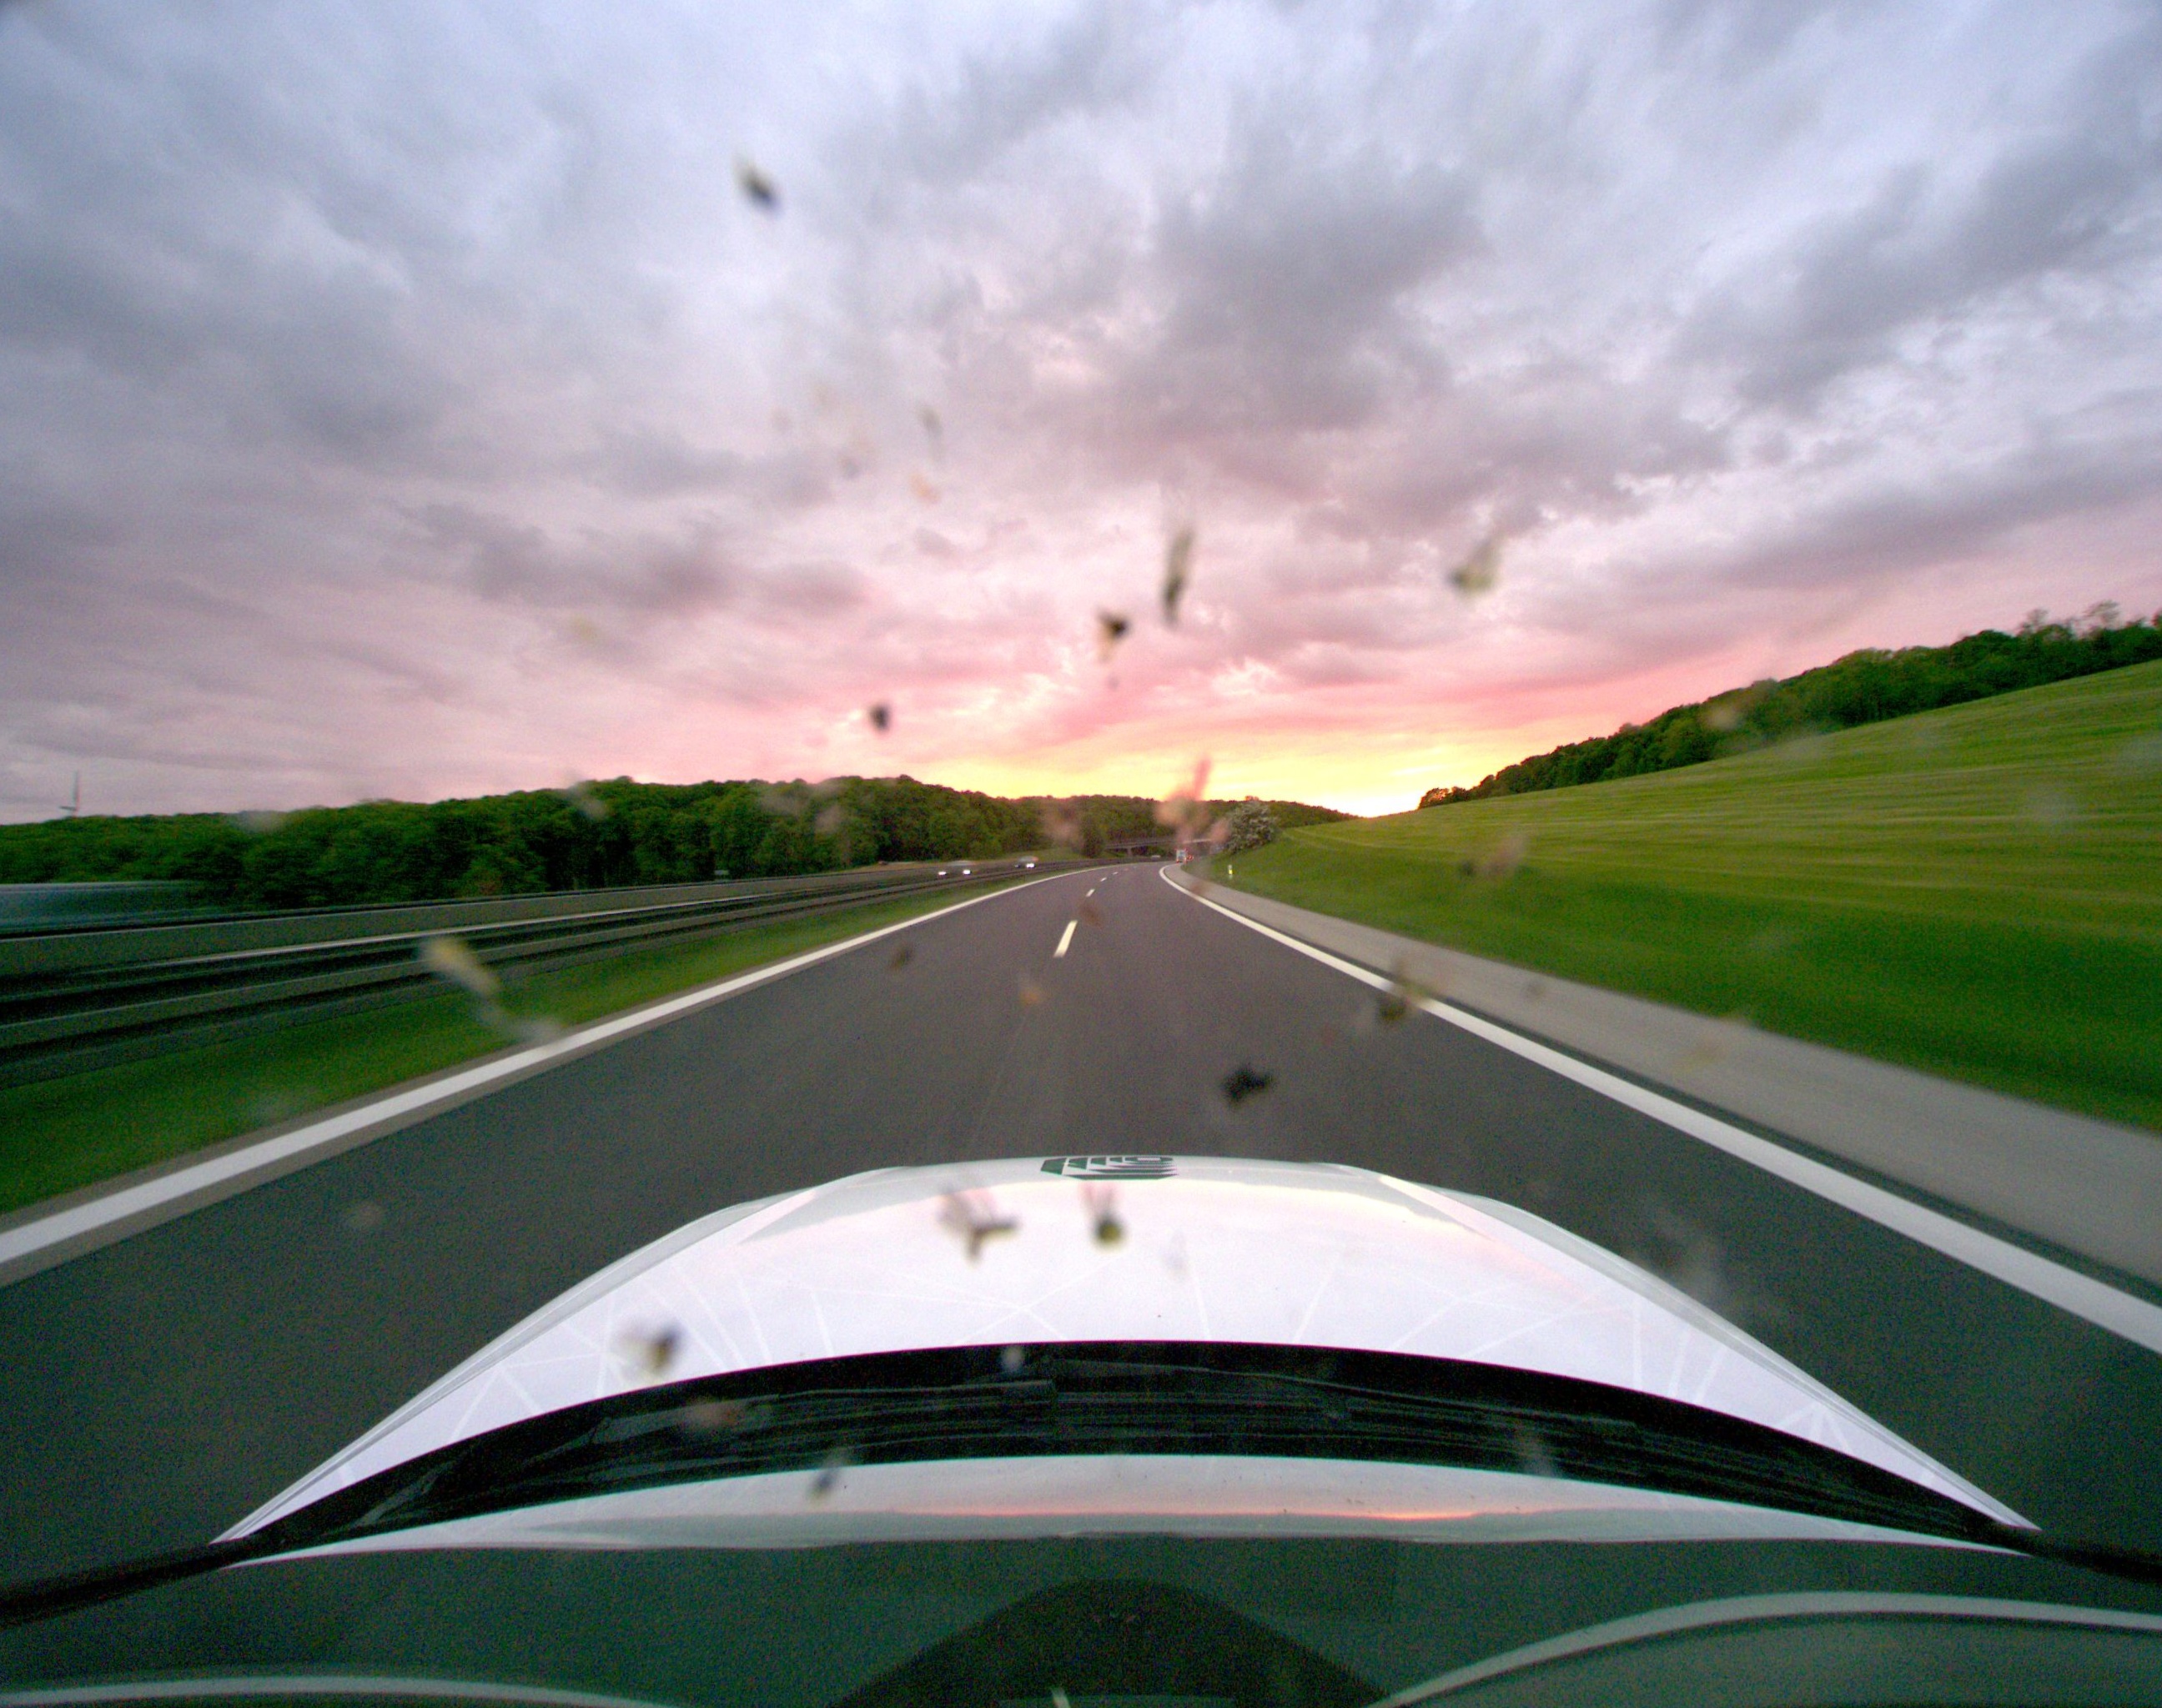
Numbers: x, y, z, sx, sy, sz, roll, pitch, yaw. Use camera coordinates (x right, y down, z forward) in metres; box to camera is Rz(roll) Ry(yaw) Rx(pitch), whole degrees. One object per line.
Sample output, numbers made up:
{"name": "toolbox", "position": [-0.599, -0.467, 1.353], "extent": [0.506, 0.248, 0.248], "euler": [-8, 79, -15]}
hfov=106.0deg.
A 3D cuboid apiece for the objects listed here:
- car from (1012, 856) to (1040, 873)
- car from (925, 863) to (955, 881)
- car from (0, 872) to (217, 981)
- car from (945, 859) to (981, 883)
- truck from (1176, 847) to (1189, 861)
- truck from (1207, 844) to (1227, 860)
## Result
{"name": "car", "position": [-5.590, 1.058, 82.886], "extent": [1.983, 1.727, 4.779], "euler": [-1, 0, 7]}
{"name": "car", "position": [-12.322, 1.512, 71.220], "extent": [1.646, 1.418, 4.005], "euler": [-1, 1, 4]}
{"name": "car", "position": [-14.079, 0.985, 10.693], "extent": [1.577, 1.288, 3.497], "euler": [-5, 0, 1]}
{"name": "car", "position": [-8.317, 1.167, 57.772], "extent": [1.601, 1.483, 4.005], "euler": [-3, 0, 5]}
{"name": "truck", "position": [20.761, 0.058, 166.873], "extent": [2.262, 2.665, 5.251], "euler": [-3, 0, 10]}
{"name": "truck", "position": [39.267, -0.495, 235.315], "extent": [3.928, 4.287, 14.383], "euler": [-2, -1, 16]}
